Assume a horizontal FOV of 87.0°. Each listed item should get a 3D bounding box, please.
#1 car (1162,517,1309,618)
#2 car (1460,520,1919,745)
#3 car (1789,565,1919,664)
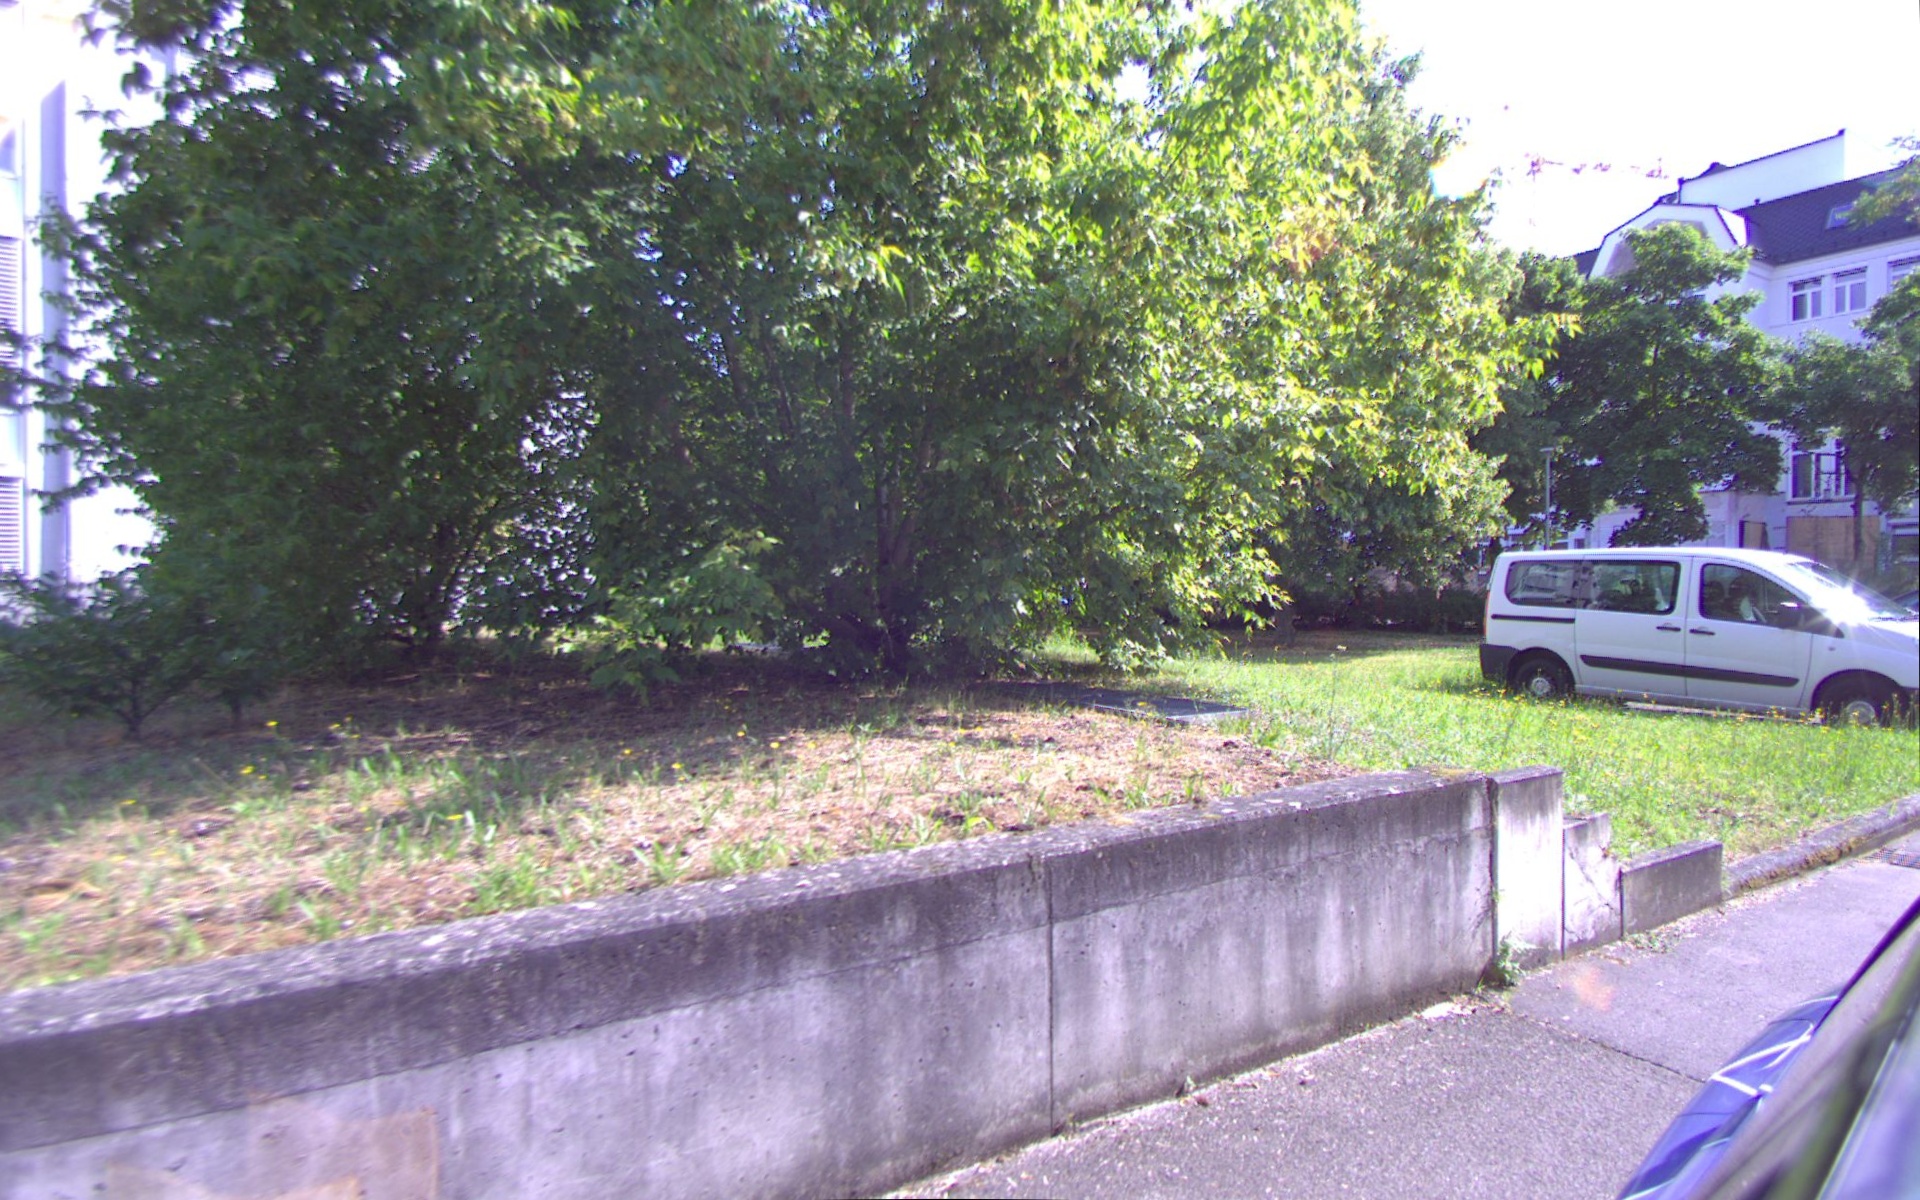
[{"bbox_3d":[9.596,-0.991,34.707,1.992,3.086,6.870,2,0,41],"label":"car"},{"bbox_3d":[8.398,0.246,11.053,1.960,1.989,4.961,2,1,-30],"label":"car"},{"bbox_3d":[15.250,0.247,15.240,1.725,1.437,3.918,0,3,-34],"label":"car"}]
